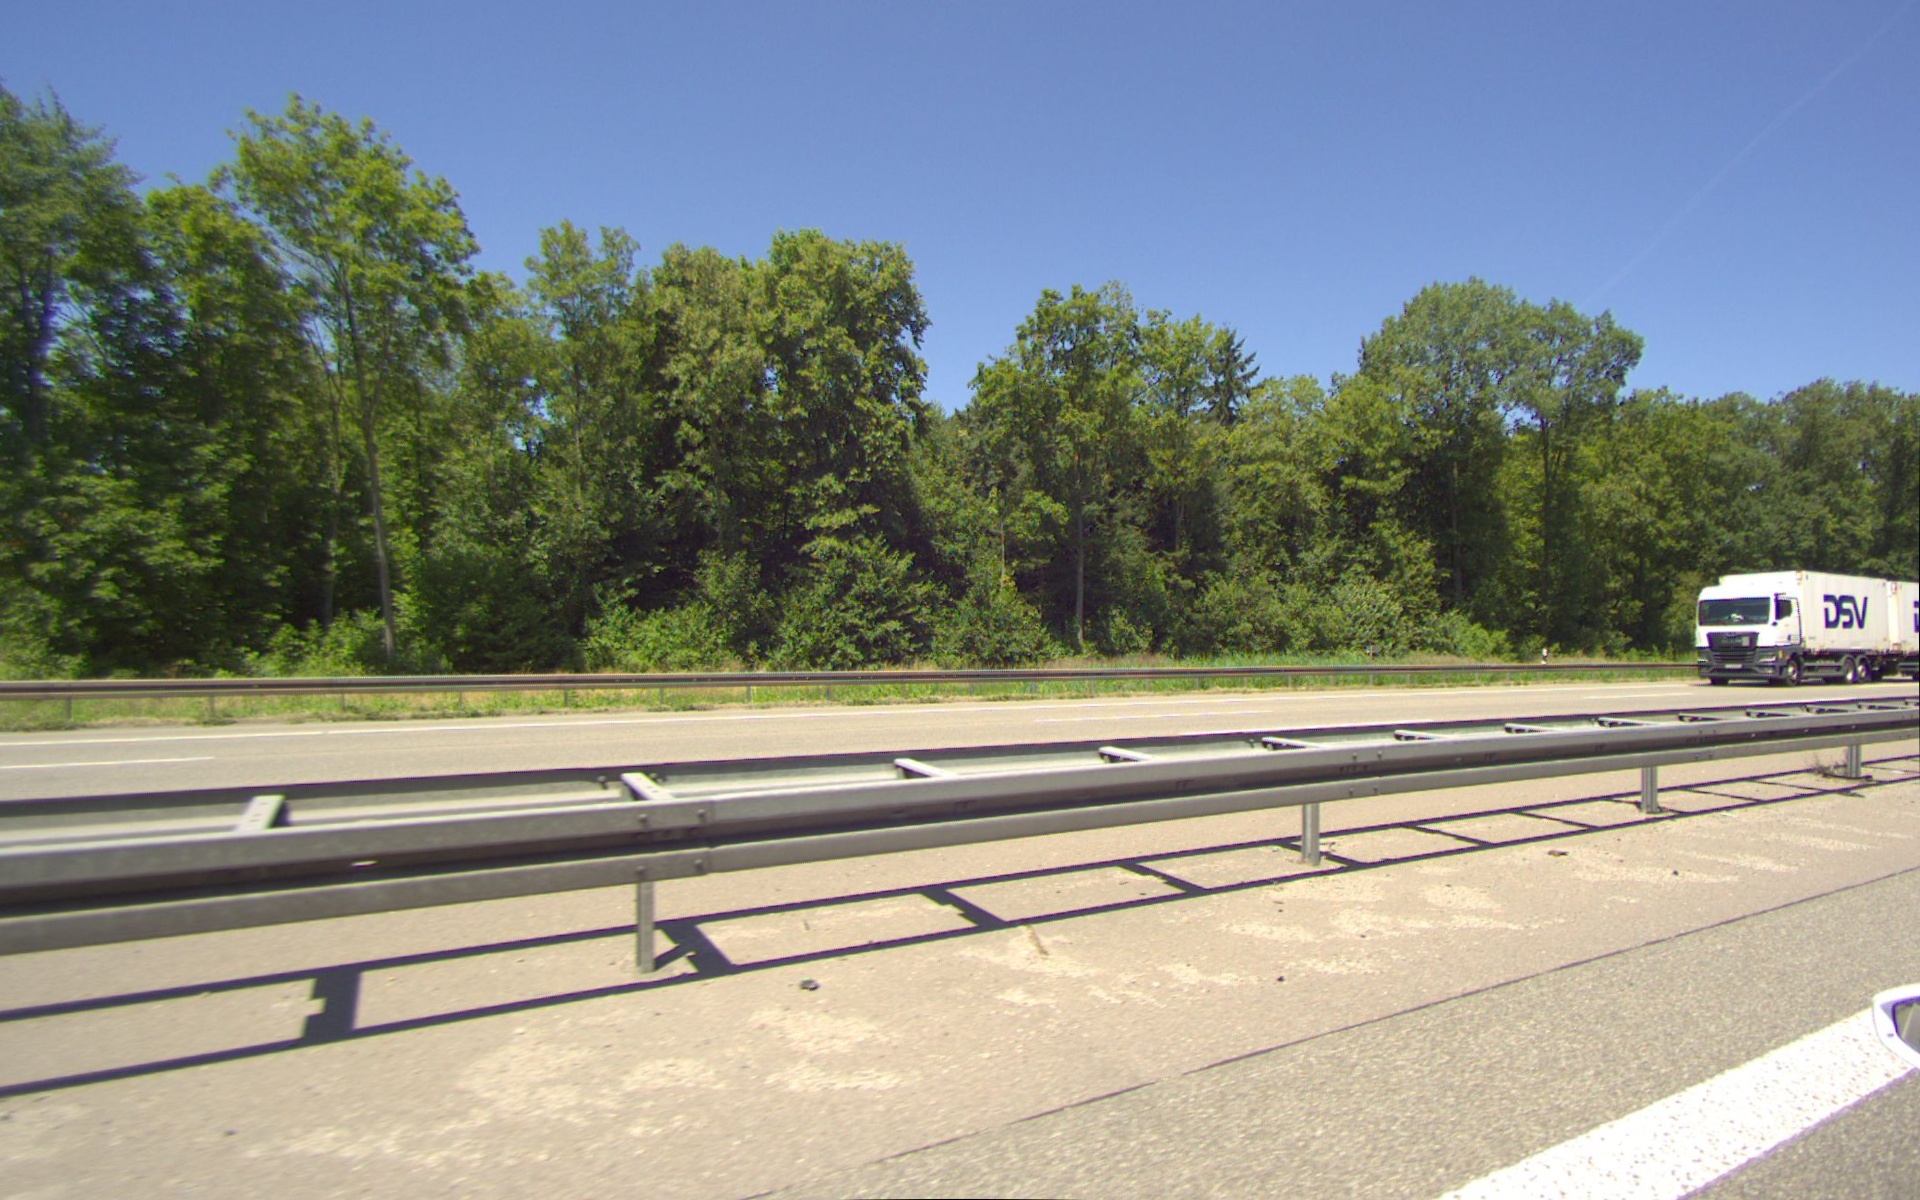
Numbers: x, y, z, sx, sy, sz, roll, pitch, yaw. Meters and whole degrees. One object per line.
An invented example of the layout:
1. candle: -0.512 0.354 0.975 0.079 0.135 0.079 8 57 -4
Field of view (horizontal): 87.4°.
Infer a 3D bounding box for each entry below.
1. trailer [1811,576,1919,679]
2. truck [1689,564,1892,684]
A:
1. trailer: 39.487 1.198 42.597 8.460 4.042 2.566 2 -2 -31
2. truck: 31.430 0.968 37.848 10.218 4.060 2.568 2 -2 -31
